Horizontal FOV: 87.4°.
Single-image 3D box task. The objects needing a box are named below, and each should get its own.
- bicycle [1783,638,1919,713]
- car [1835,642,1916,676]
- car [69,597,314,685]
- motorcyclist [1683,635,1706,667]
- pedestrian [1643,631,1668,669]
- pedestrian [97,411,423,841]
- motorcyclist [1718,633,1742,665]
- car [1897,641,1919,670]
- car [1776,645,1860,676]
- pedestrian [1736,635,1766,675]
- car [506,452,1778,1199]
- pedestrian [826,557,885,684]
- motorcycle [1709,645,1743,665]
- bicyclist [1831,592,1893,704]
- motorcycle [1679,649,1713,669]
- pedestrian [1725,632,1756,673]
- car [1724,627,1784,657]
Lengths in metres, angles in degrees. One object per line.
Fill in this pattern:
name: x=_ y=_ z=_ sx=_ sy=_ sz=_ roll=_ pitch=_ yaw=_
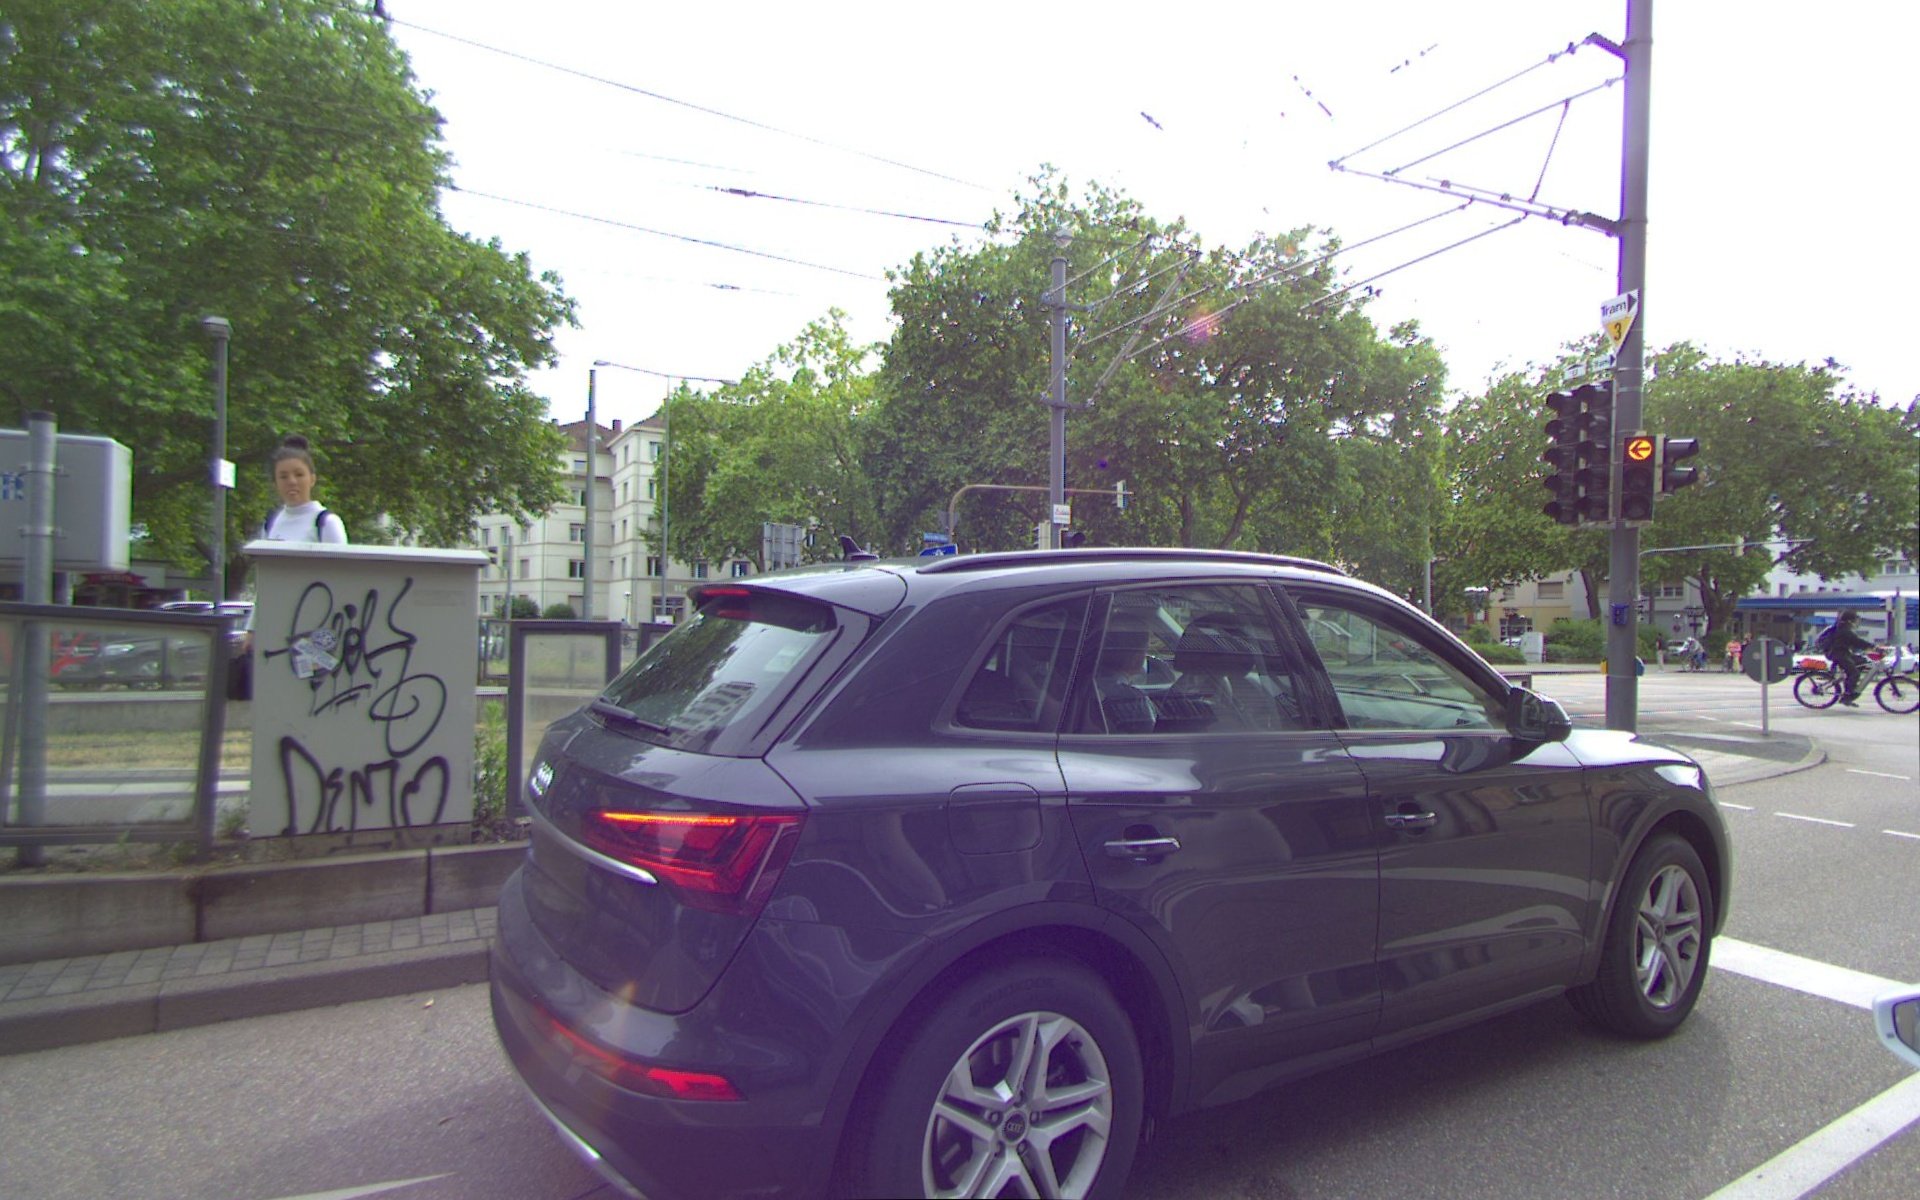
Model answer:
bicycle: x=16.886 y=1.400 z=18.970 sx=1.962 sy=1.289 sz=0.749 roll=2 pitch=0 yaw=31
car: x=46.974 y=3.019 z=51.516 sx=3.953 sy=1.615 sz=1.984 roll=2 pitch=0 yaw=-30
car: x=-13.977 y=0.718 z=18.423 sx=1.555 sy=1.447 sz=3.213 roll=0 pitch=-1 yaw=31
motorcyclist: x=35.800 y=2.479 z=48.941 sx=0.863 sy=1.540 sz=0.617 roll=2 pitch=-1 yaw=-30
pedestrian: x=32.490 y=2.345 z=46.919 sx=0.732 sy=1.713 sz=0.681 roll=2 pitch=0 yaw=-25
pedestrian: x=-3.136 y=0.104 z=4.553 sx=0.709 sy=1.692 sz=0.977 roll=2 pitch=0 yaw=31
motorcyclist: x=37.231 y=2.363 z=48.567 sx=0.863 sy=1.540 sz=0.617 roll=2 pitch=-1 yaw=-30
car: x=52.778 y=3.030 z=54.598 sx=3.593 sy=1.497 sz=1.649 roll=2 pitch=0 yaw=-29
car: x=41.312 y=2.904 z=48.348 sx=4.025 sy=1.338 sz=1.739 roll=2 pitch=0 yaw=-29
pedestrian: x=35.213 y=2.434 z=44.719 sx=0.867 sy=1.735 sz=0.865 roll=2 pitch=-1 yaw=-36
car: x=0.821 y=0.638 z=3.455 sx=4.177 sy=1.658 sz=1.725 roll=2 pitch=0 yaw=-30
pedestrian: x=-1.678 y=0.329 z=16.115 sx=0.658 sy=1.976 sz=0.732 roll=2 pitch=0 yaw=-30
motorcycle: x=36.925 y=2.664 z=48.428 sx=1.928 sy=0.941 sz=0.604 roll=2 pitch=-1 yaw=-30
bicyclist: x=16.991 y=0.894 z=18.938 sx=0.682 sy=2.040 sz=0.781 roll=2 pitch=0 yaw=32
motorcycle: x=35.941 y=2.858 z=49.023 sx=1.928 sy=0.941 sz=0.604 roll=2 pitch=-1 yaw=-30
pedestrian: x=34.366 y=2.305 z=44.238 sx=0.682 sy=1.735 sz=0.864 roll=1 pitch=-1 yaw=-26
car: x=55.031 y=2.897 z=69.607 sx=3.953 sy=2.040 sz=1.984 roll=2 pitch=-1 yaw=-30
